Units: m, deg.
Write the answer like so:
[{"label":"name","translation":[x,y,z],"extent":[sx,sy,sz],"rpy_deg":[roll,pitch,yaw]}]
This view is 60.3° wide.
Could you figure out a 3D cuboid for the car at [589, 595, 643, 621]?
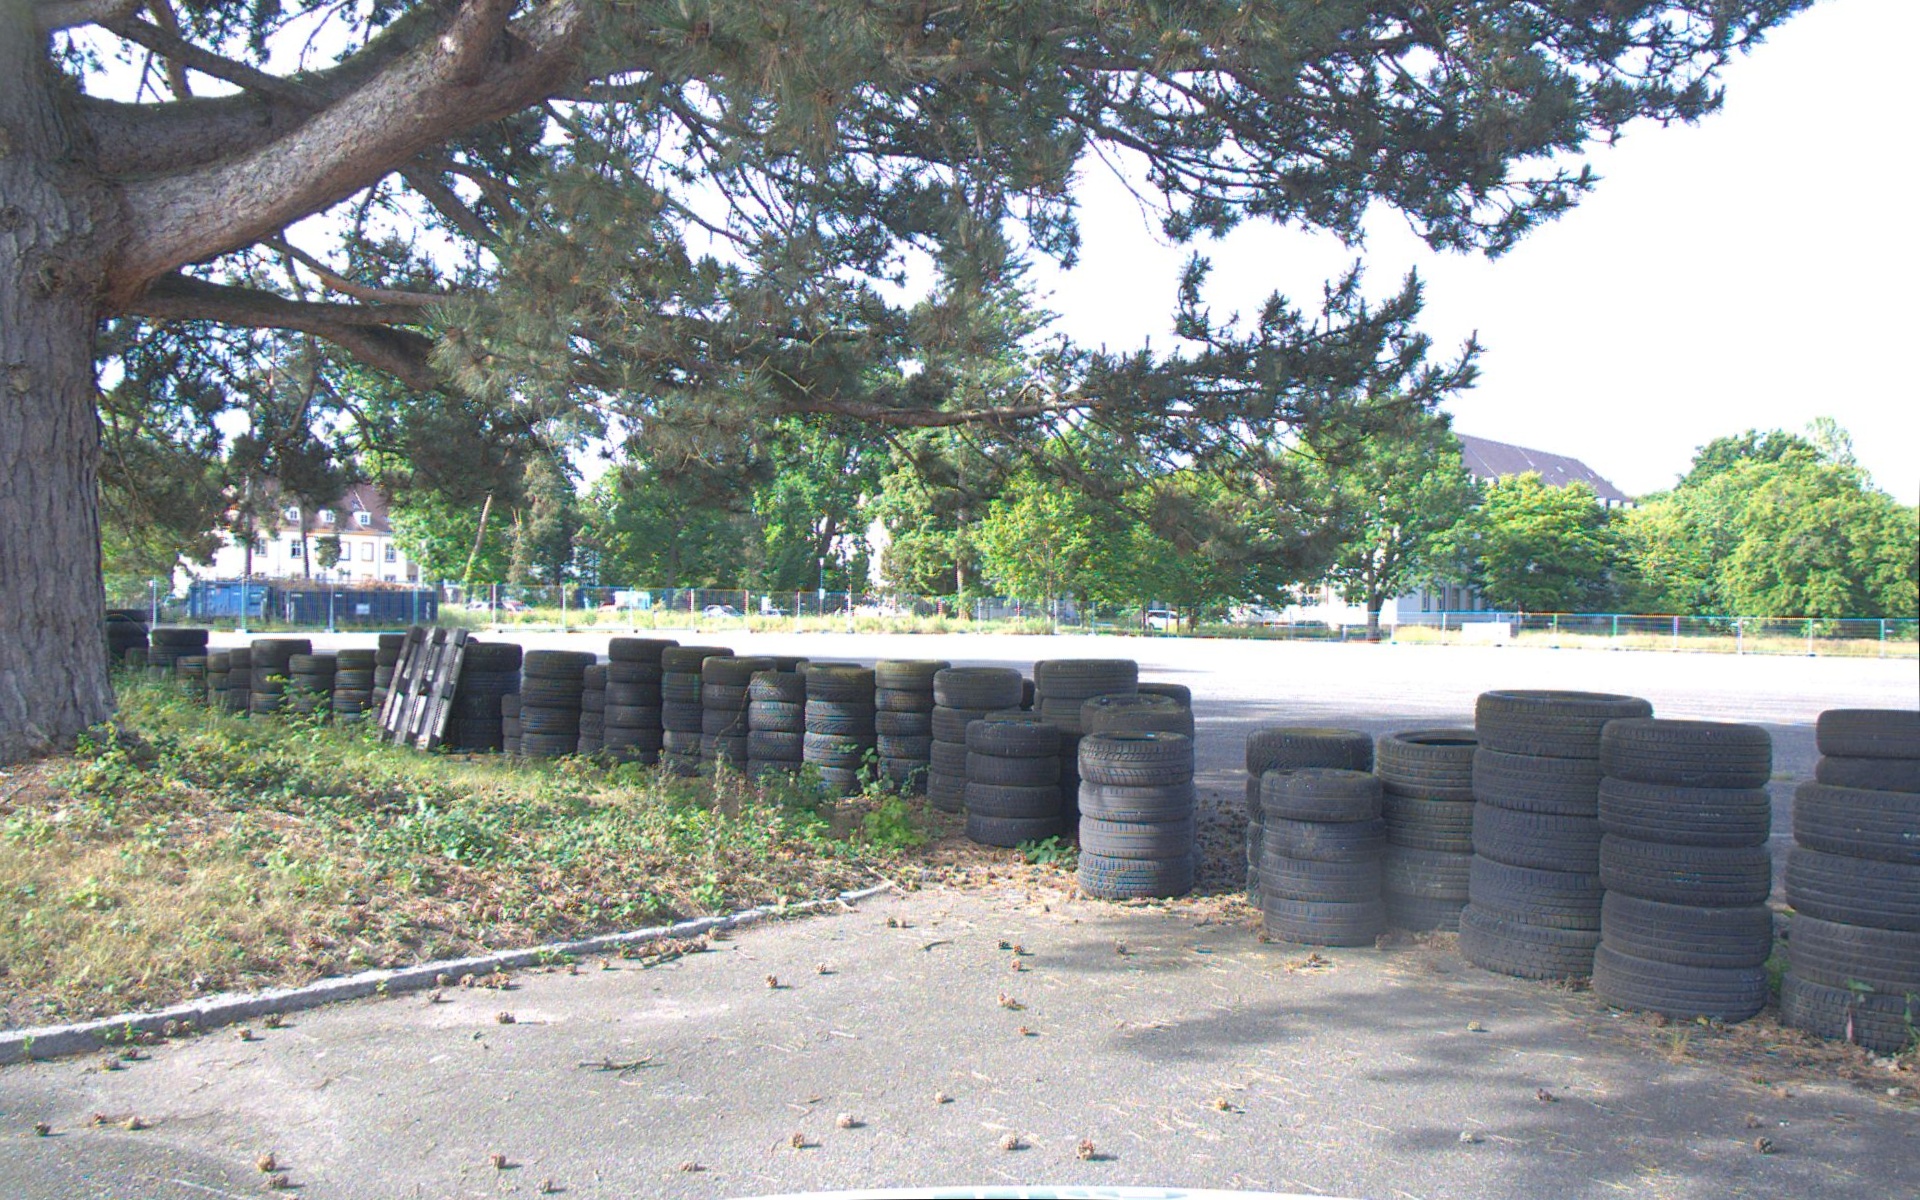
[{"label":"car","translation":[-23.970,0.546,115.252],"extent":[1.983,1.780,3.939],"rpy_deg":[1,0,-42]}]

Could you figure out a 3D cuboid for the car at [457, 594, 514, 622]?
[{"label":"car","translation":[-30.919,0.535,107.742],"extent":[1.984,1.780,3.938],"rpy_deg":[1,0,-43]}]

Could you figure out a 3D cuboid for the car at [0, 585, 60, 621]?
[{"label":"car","translation":[-43.746,0.130,77.126],"extent":[3.930,1.646,1.988],"rpy_deg":[1,0,43]}]

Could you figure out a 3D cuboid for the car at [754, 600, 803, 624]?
[{"label":"car","translation":[-13.893,0.937,126.554],"extent":[1.979,1.780,3.946],"rpy_deg":[1,0,-38]}]
